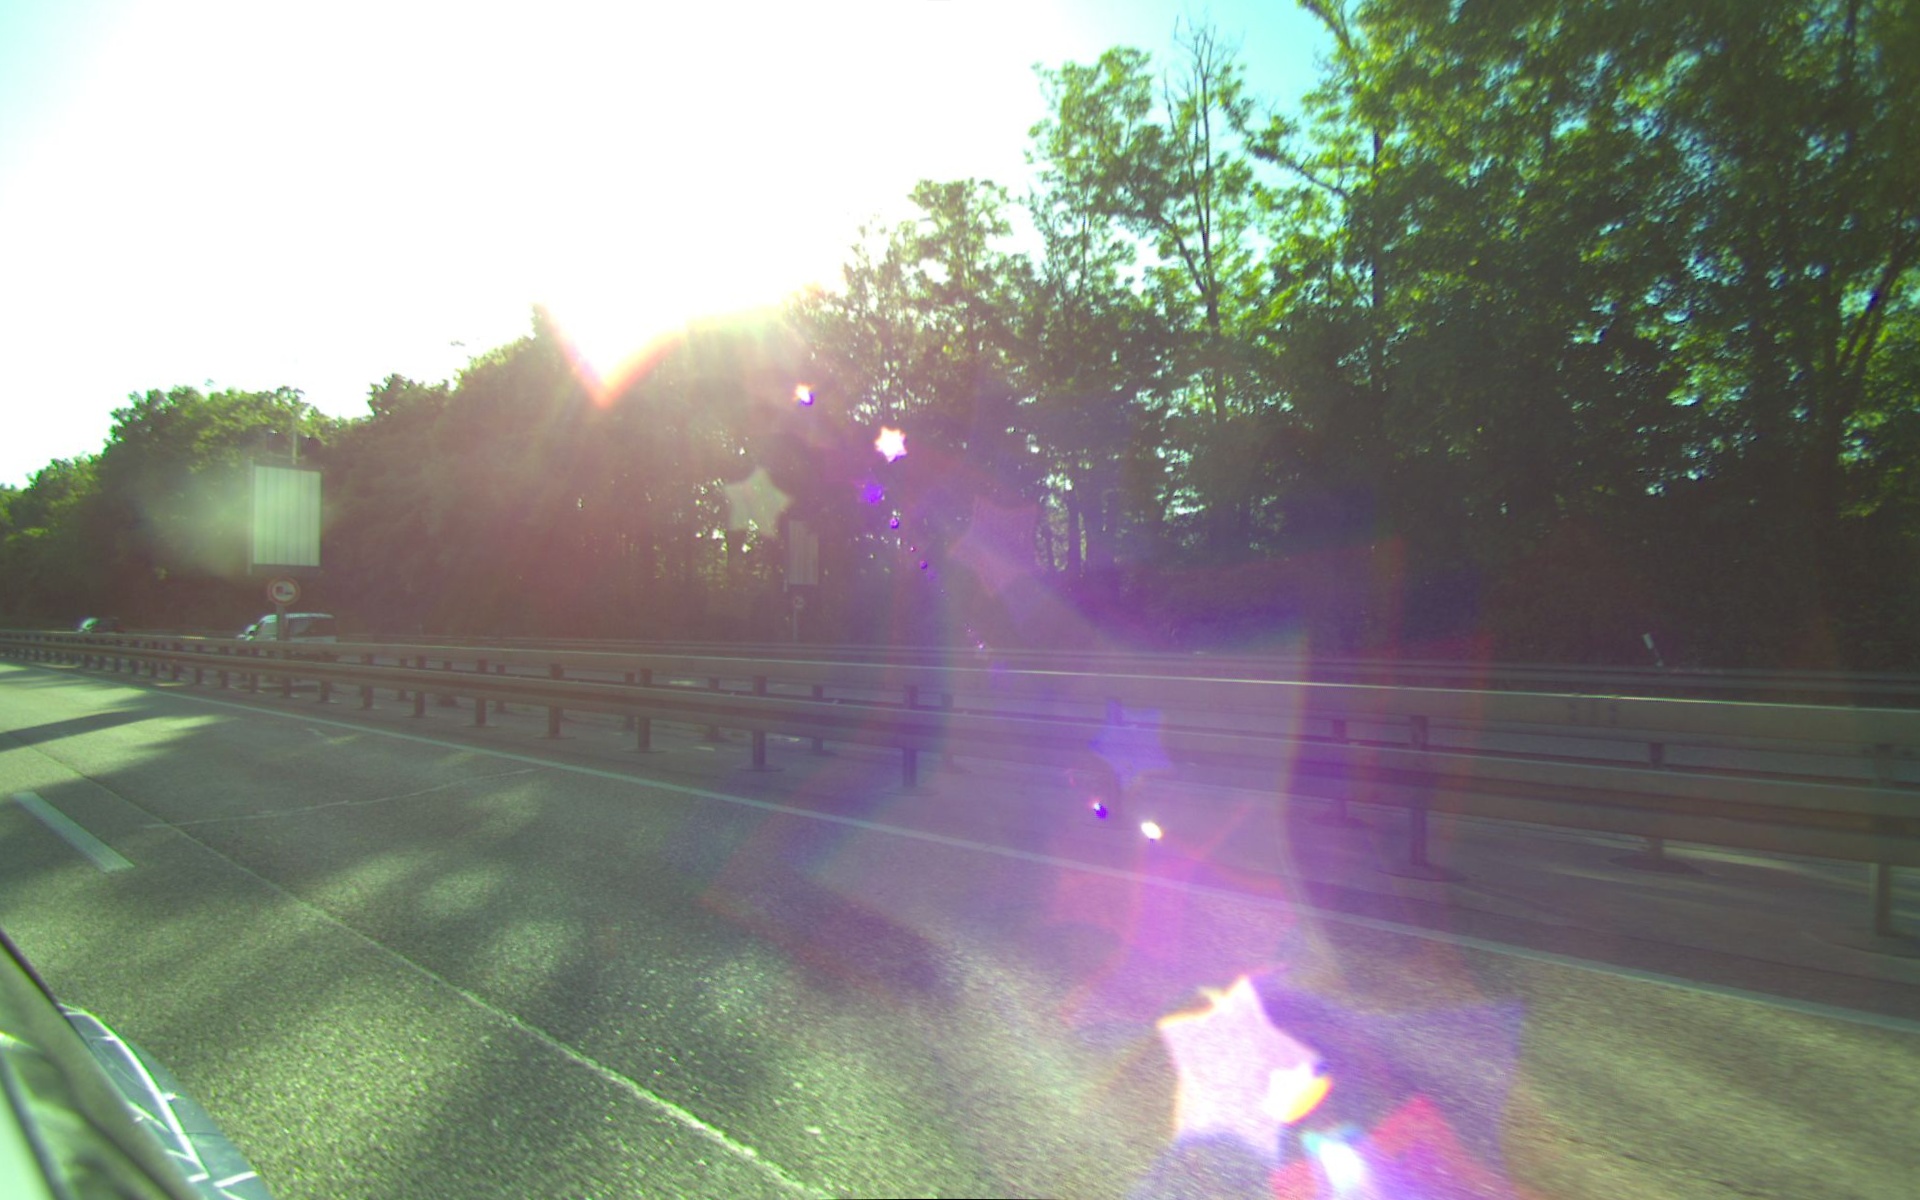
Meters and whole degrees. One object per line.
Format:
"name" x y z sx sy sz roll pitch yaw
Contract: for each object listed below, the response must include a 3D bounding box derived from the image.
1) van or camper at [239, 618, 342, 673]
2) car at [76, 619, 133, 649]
"van or camper" -22.985 1.518 34.689 4.283 1.779 1.852 -1 -2 41
"car" -54.619 2.159 64.582 4.420 1.893 1.974 -1 -2 39
